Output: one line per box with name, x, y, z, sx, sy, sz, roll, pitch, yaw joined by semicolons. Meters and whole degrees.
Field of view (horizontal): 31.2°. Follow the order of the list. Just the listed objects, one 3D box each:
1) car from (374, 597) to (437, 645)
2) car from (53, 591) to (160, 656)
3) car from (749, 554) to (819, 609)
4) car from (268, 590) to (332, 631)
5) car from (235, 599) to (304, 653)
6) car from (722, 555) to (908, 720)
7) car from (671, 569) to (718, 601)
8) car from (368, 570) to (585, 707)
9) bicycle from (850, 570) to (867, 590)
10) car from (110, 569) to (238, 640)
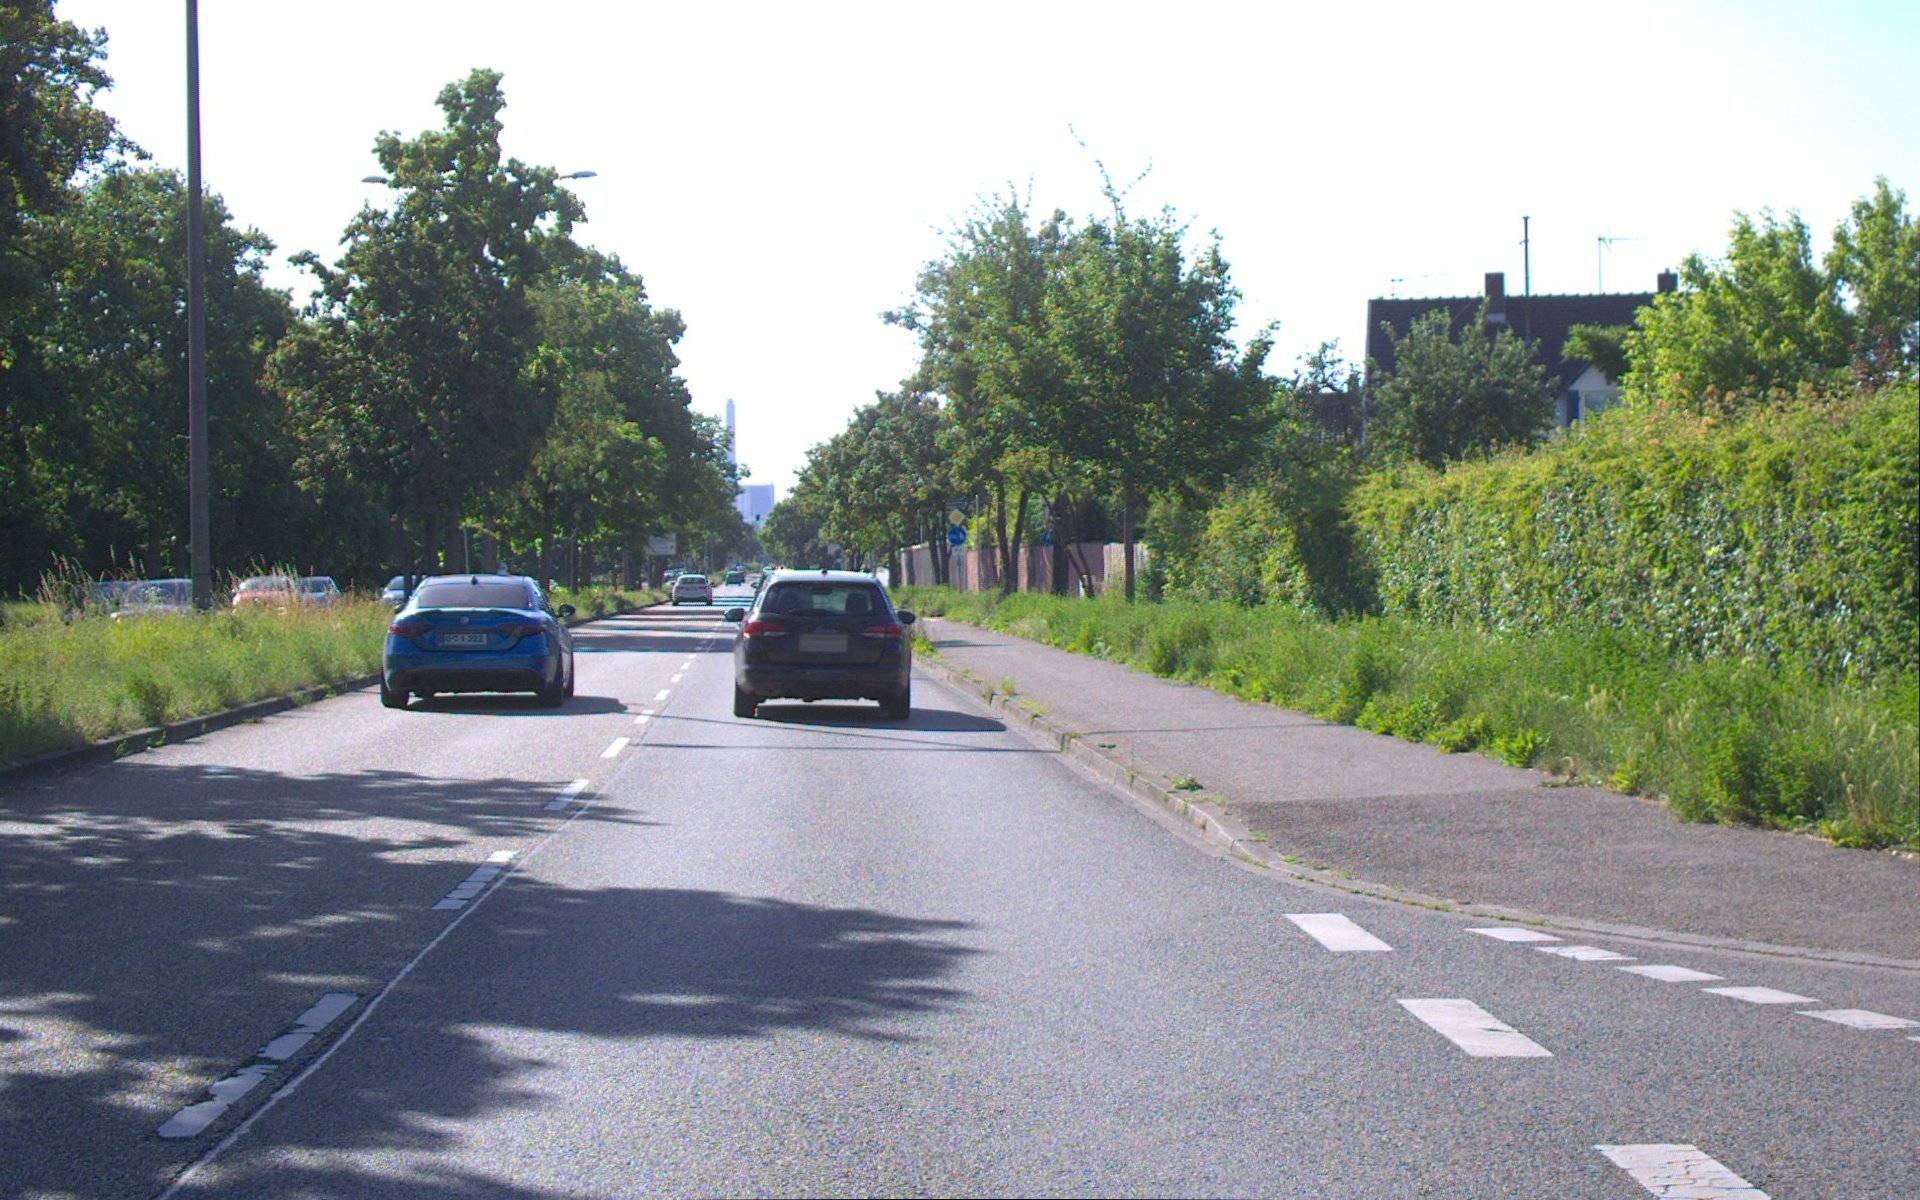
car;-18.990;0.707;117.813;1.713;1.597;4.359;0;0;-3
car;-20.799;0.561;83.953;1.805;1.495;4.597;0;1;-5
car;-5.350;-0.584;104.104;1.743;1.592;4.176;0;1;-8
car;-23.594;0.355;122.989;1.838;1.408;4.001;0;0;-5
car;-21.716;0.794;108.230;1.604;1.557;4.001;-2;1;-5
car;-1.489;0.366;35.409;1.760;1.554;4.000;2;0;-2
car;-12.392;-0.707;160.280;1.978;1.435;4.001;0;1;-7
car;-5.224;0.380;37.613;1.994;1.400;4.001;0;1;-3
bicycle;-4.458;-0.883;150.939;0.655;0.889;1.875;0;1;-3
car;-15.909;0.068;69.792;1.781;1.356;4.980;0;1;-4
